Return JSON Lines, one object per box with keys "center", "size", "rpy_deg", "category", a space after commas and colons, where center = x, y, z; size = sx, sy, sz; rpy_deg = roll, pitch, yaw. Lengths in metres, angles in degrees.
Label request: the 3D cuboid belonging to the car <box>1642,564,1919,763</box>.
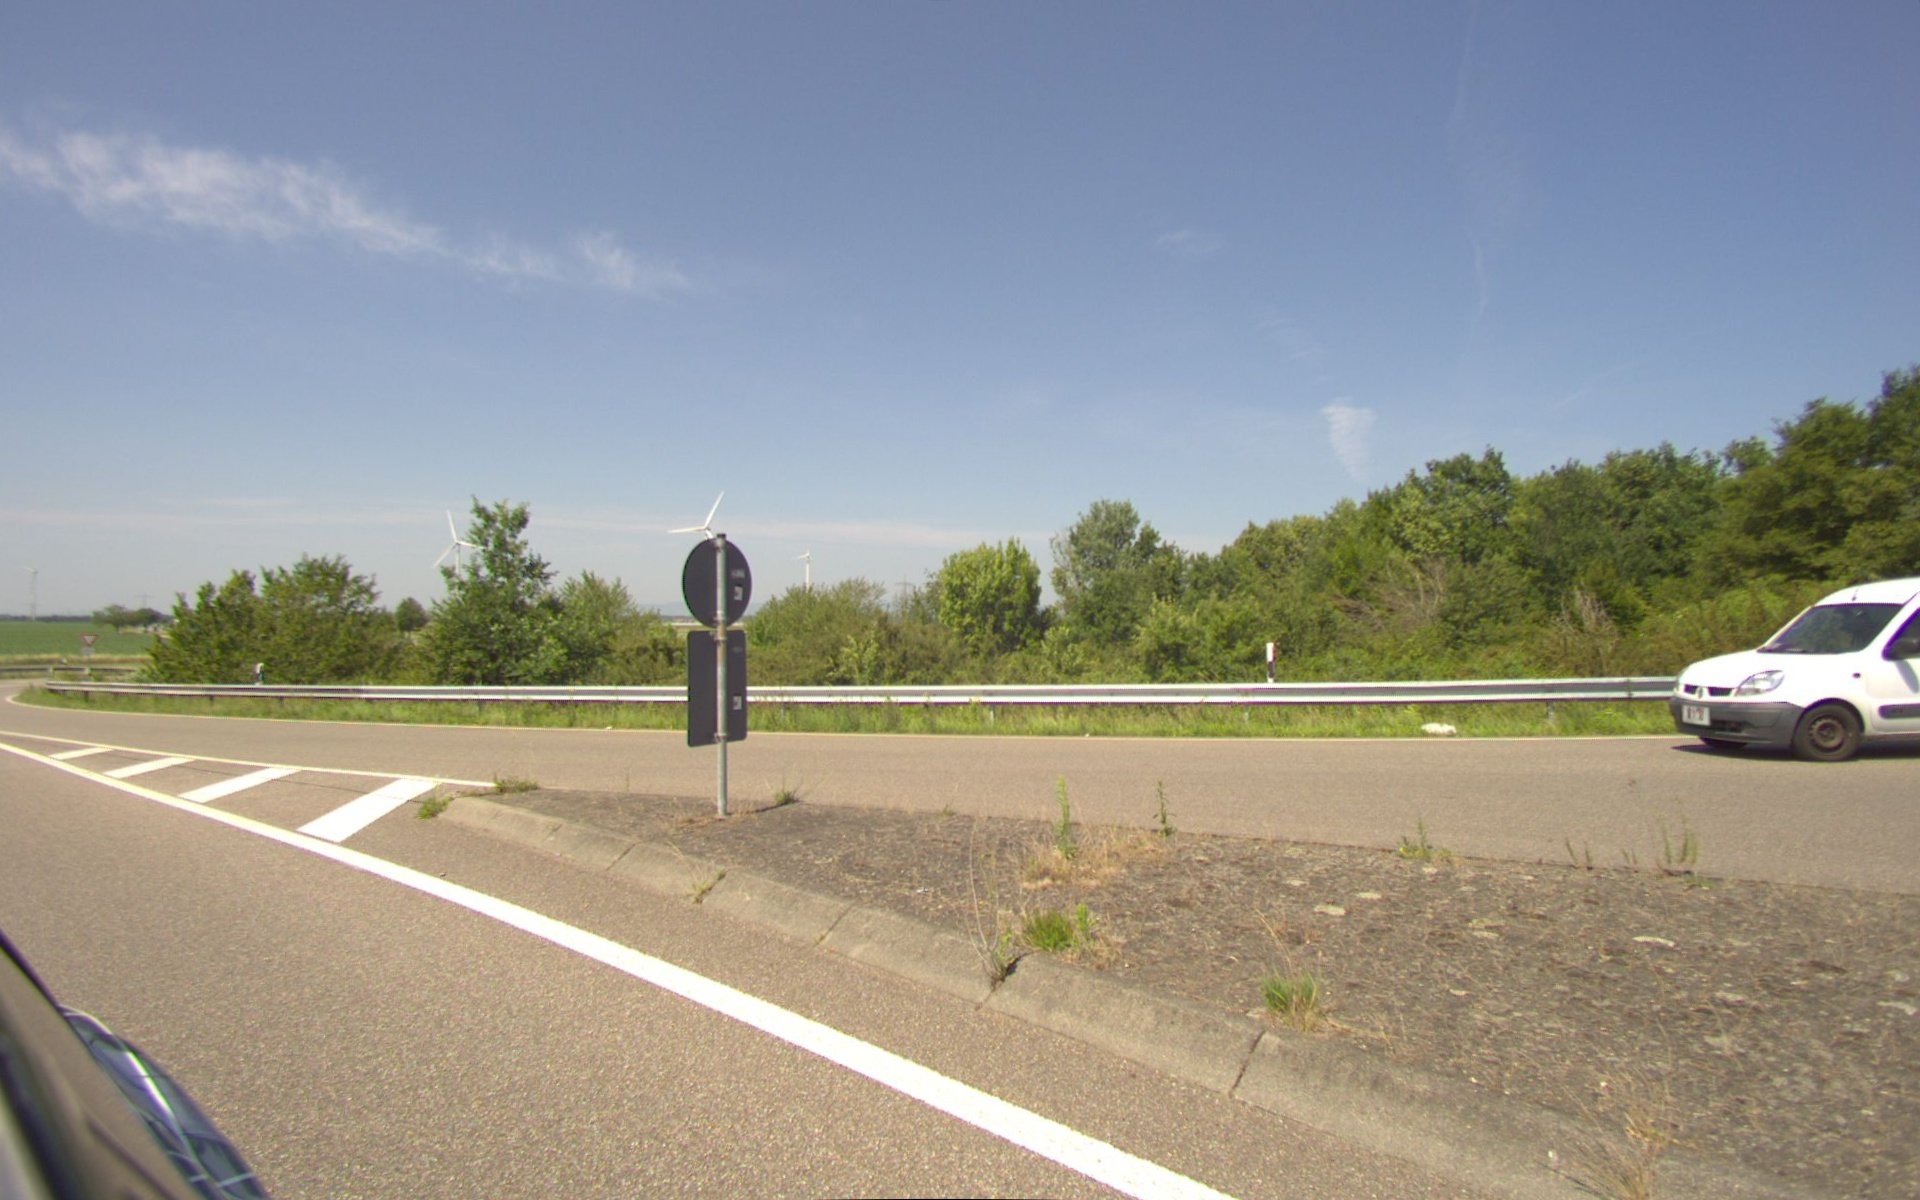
{"center": [9.436, 0.574, 10.001], "size": [4.030, 1.775, 1.740], "rpy_deg": [-2, -3, 4], "category": "car"}
